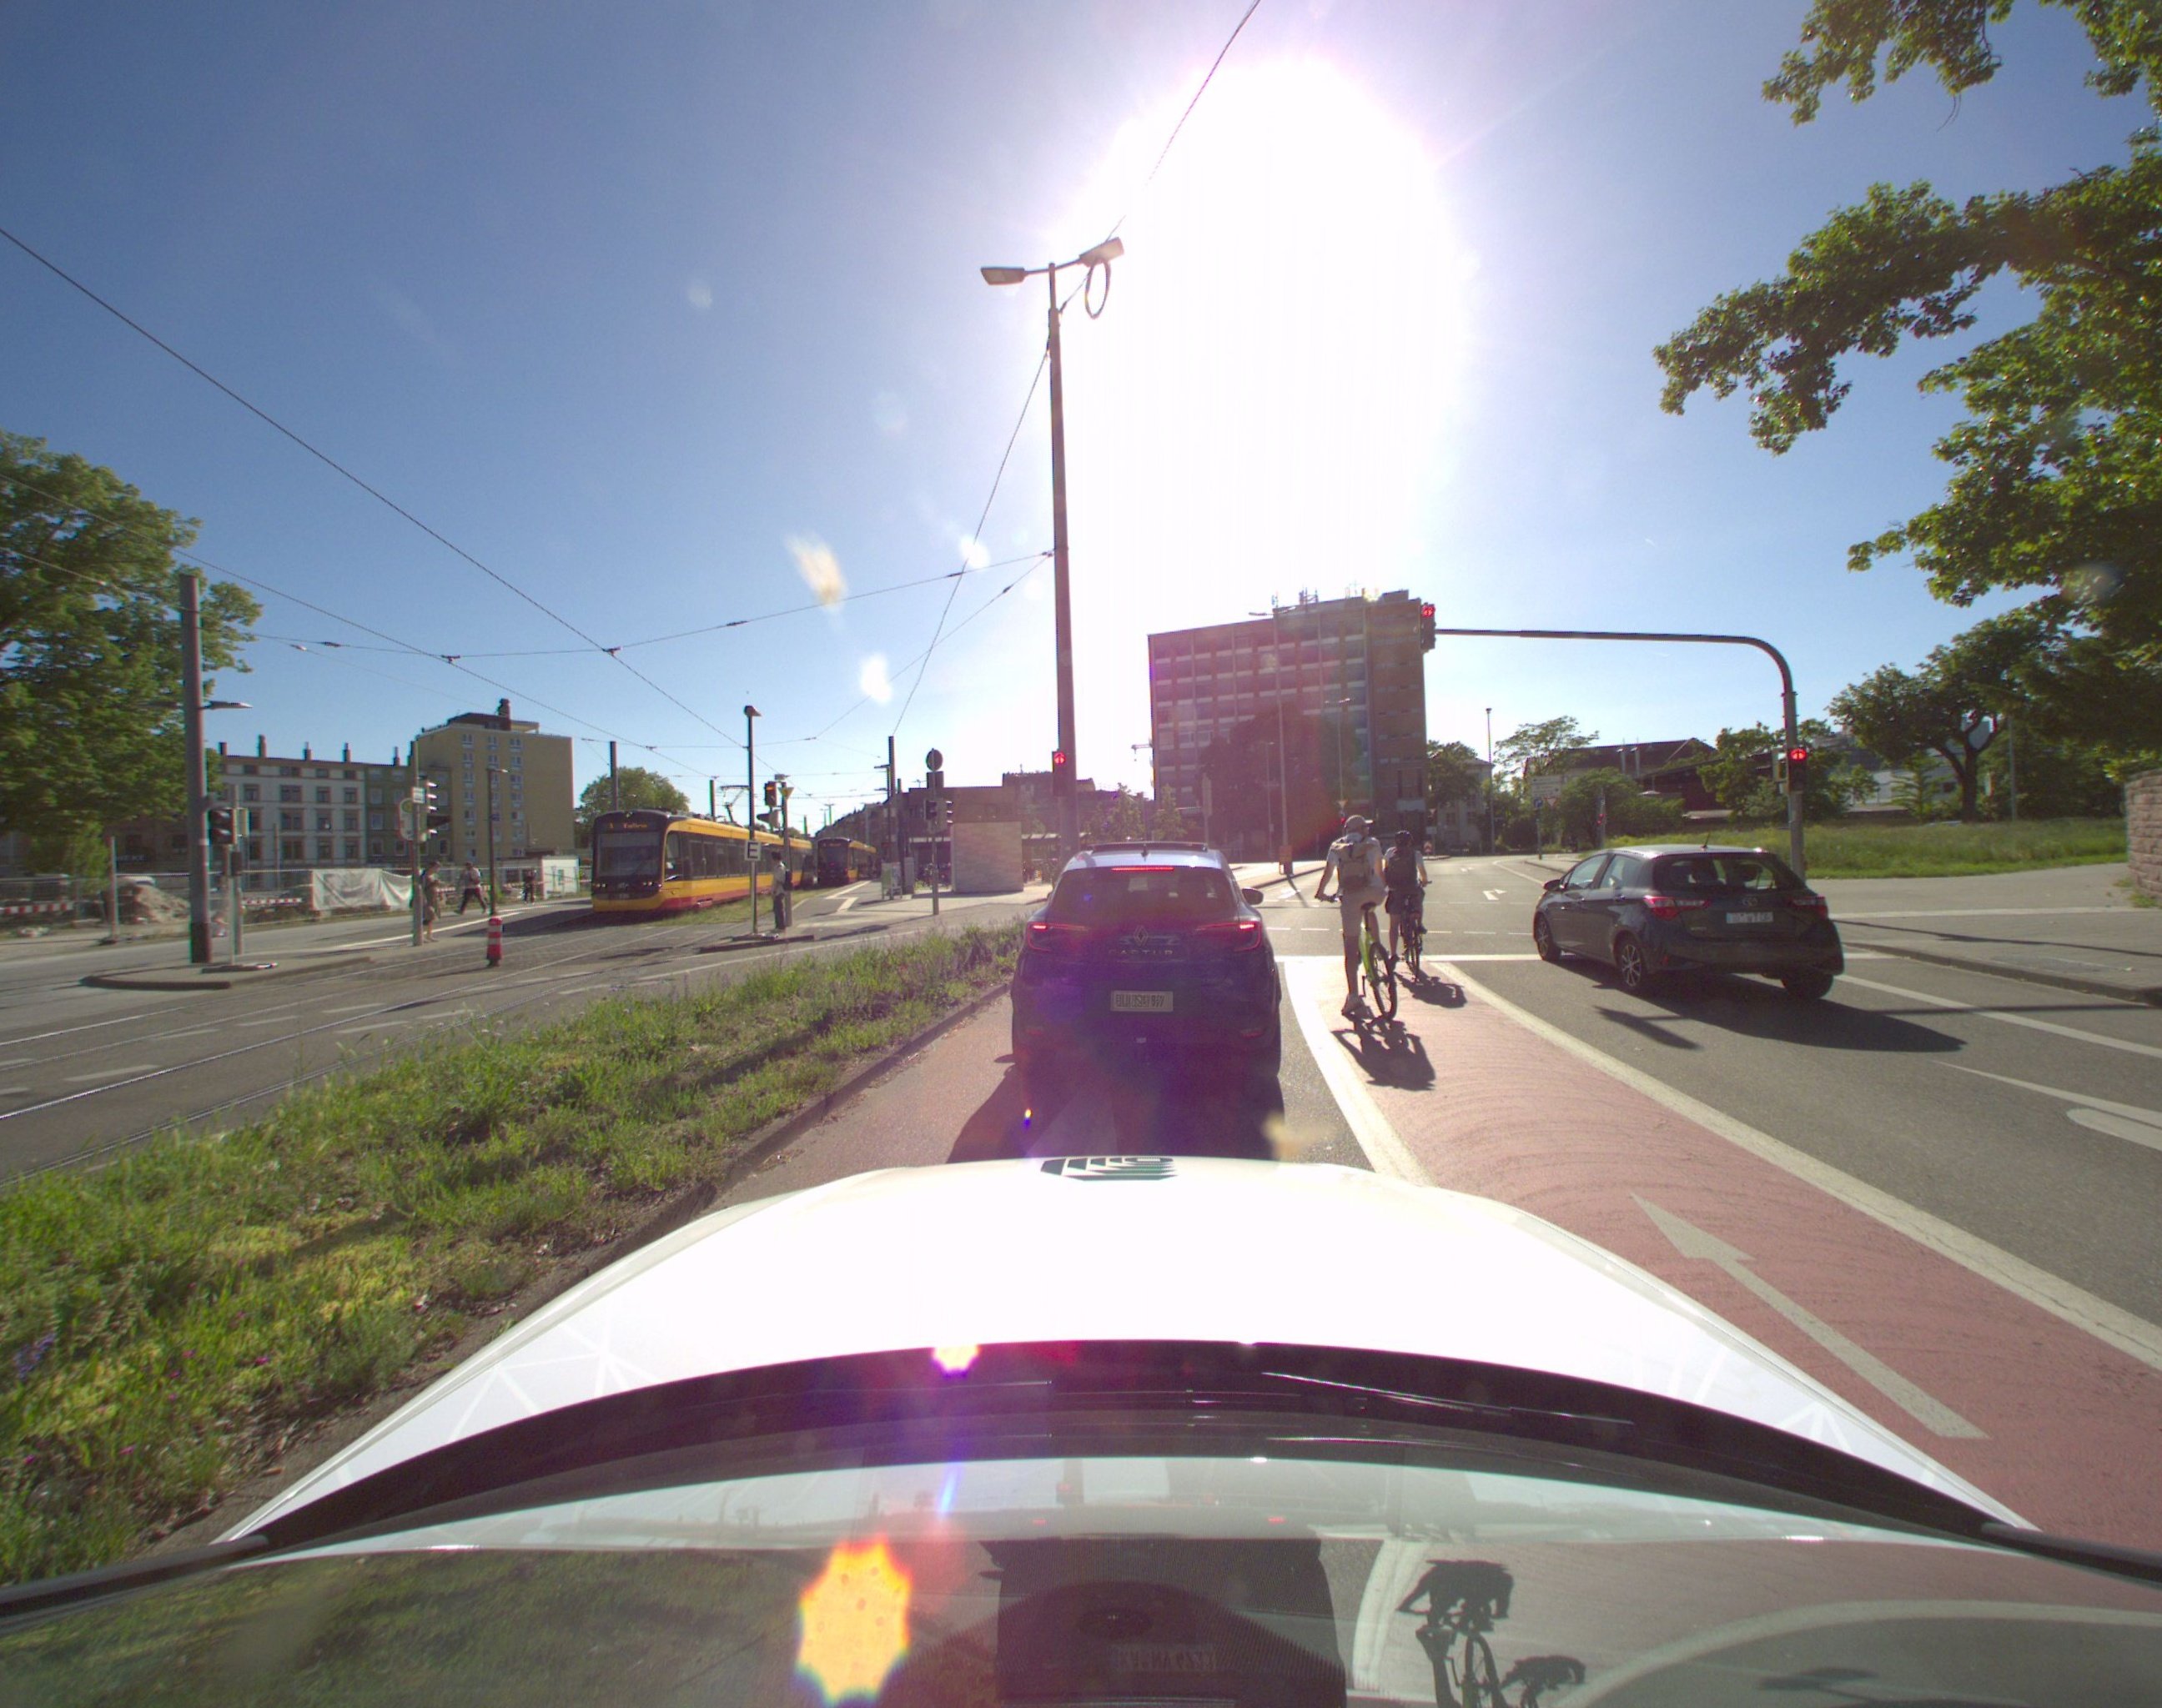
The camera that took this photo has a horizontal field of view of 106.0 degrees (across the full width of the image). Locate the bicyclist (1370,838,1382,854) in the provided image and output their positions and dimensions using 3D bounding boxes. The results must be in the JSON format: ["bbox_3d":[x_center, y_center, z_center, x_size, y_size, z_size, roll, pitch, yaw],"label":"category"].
[{"bbox_3d":[33.700,-0.913,93.096,1.146,1.797,0.889,-2,-2,27],"label":"bicyclist"}]

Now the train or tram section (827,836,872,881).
[{"bbox_3d":[-19.720,0.427,69.960,2.873,3.508,10.499,-1,0,-12],"label":"train or tram section"}]

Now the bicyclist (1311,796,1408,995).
[{"bbox_3d":[2.609,0.372,7.720,0.660,1.747,1.008,-2,0,9],"label":"bicyclist"}]

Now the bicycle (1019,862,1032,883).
[{"bbox_3d":[-2.944,0.958,42.879,0.580,1.058,1.812,-1,-1,-7],"label":"bicycle"}]

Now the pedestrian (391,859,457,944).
[{"bbox_3d":[-15.095,1.076,18.739,0.902,1.850,0.759,-2,2,-20],"label":"pedestrian"}]

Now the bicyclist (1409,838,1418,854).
[{"bbox_3d":[37.079,-0.890,90.807,0.850,1.692,0.889,-2,-2,27],"label":"bicyclist"}]

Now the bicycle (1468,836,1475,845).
[{"bbox_3d":[53.429,-1.837,111.521,0.603,1.093,1.682,-3,0,32],"label":"bicycle"}]

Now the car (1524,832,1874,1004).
[{"bbox_3d":[6.603,0.586,9.263,1.744,1.541,3.670,-1,0,12],"label":"car"}]

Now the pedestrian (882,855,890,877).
[{"bbox_3d":[-16.050,0.997,67.072,0.634,1.857,0.699,0,-2,-17],"label":"pedestrian"}]

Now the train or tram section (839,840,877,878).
[{"bbox_3d":[-21.831,0.481,80.242,2.873,3.508,10.499,-1,0,-12],"label":"train or tram section"}]

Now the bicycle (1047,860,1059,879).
[{"bbox_3d":[-1.692,0.952,48.960,0.580,1.088,2.053,-1,-1,-7],"label":"bicycle"}]

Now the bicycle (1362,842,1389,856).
[{"bbox_3d":[33.704,-0.522,93.094,2.775,1.541,0.889,-2,-2,27],"label":"bicycle"}]

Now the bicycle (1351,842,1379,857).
[{"bbox_3d":[31.843,-0.526,91.378,2.775,1.541,0.889,-2,-2,27],"label":"bicycle"}]

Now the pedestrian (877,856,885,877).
[{"bbox_3d":[-17.773,1.088,72.309,0.631,1.857,0.701,-1,-2,-7],"label":"pedestrian"}]

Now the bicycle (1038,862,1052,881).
[{"bbox_3d":[-1.915,0.947,43.230,0.580,0.961,2.053,-1,-1,-7],"label":"bicycle"}]

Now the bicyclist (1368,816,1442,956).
[{"bbox_3d":[3.965,0.367,10.034,0.716,1.626,1.059,-1,0,16],"label":"bicyclist"}]

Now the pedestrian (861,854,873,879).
[{"bbox_3d":[-15.990,0.946,60.920,0.848,1.883,0.757,-1,-2,-14],"label":"pedestrian"}]

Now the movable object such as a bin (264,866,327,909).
[{"bbox_3d":[-53.437,2.260,55.387,3.950,2.796,1.844,-2,-2,26],"label":"movable object such as a bin"}]

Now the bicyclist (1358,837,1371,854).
[{"bbox_3d":[31.840,-0.922,91.372,1.195,1.897,0.889,-2,-2,27],"label":"bicyclist"}]

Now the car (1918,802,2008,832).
[{"bbox_3d":[68.030,-2.804,62.933,4.305,2.014,2.013,-2,-2,34],"label":"car"}]

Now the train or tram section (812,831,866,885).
[{"bbox_3d":[-17.574,0.311,59.730,2.873,3.508,10.499,-1,0,-12],"label":"train or tram section"}]

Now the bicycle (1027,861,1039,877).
[{"bbox_3d":[-3.329,1.018,56.407,0.580,1.088,1.865,-1,-1,-9],"label":"bicycle"}]

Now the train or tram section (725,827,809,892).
[{"bbox_3d":[-18.880,0.323,49.765,2.818,3.508,11.167,-1,0,-11],"label":"train or tram section"}]

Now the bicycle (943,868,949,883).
[{"bbox_3d":[-8.786,1.370,53.017,0.421,0.938,1.374,0,-1,-9],"label":"bicycle"}]

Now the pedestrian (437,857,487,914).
[{"bbox_3d":[-20.017,1.022,26.345,0.854,1.767,0.980,-2,0,30],"label":"pedestrian"}]

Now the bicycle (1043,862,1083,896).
[{"bbox_3d":[-0.601,0.860,28.124,0.767,1.080,2.044,-3,-1,16],"label":"bicycle"}]

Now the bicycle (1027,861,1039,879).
[{"bbox_3d":[-2.900,0.972,48.917,0.580,1.088,2.053,-1,-1,-7],"label":"bicycle"}]

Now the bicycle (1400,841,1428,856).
[{"bbox_3d":[37.083,-0.629,90.811,2.775,1.541,0.889,-2,-2,27],"label":"bicycle"}]

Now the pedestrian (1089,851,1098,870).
[{"bbox_3d":[1.212,0.630,78.800,0.721,1.857,0.705,-1,-2,10],"label":"pedestrian"}]

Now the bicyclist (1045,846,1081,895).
[{"bbox_3d":[-0.621,0.566,28.161,0.873,1.644,1.065,-3,-1,16],"label":"bicyclist"}]

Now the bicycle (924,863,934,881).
[{"bbox_3d":[-9.829,1.157,52.611,0.565,1.093,2.023,-1,-1,-9],"label":"bicycle"}]

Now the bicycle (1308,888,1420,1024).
[{"bbox_3d":[2.640,0.904,7.801,0.659,1.047,1.895,-2,0,9],"label":"bicycle"}]

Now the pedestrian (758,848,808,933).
[{"bbox_3d":[-6.668,0.791,18.213,1.020,1.832,0.755,0,-2,-22],"label":"pedestrian"}]

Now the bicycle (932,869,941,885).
[{"bbox_3d":[-8.512,1.334,47.985,0.422,0.938,1.300,0,-1,-13],"label":"bicycle"}]

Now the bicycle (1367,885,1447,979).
[{"bbox_3d":[3.982,0.902,10.065,0.717,0.960,1.892,-1,0,16],"label":"bicycle"}]

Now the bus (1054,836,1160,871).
[{"bbox_3d":[2.608,0.015,86.873,12.287,3.396,2.900,-2,-2,42],"label":"bus"}]

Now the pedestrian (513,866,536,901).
[{"bbox_3d":[-29.089,1.543,42.585,0.668,1.767,0.796,-2,0,-13],"label":"pedestrian"}]

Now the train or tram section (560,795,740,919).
[{"bbox_3d":[-14.673,0.108,28.879,2.820,3.508,10.434,-2,0,-12],"label":"train or tram section"}]

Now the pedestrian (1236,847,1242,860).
[{"bbox_3d":[20.273,-0.012,104.229,0.555,1.670,0.479,-2,-2,39],"label":"pedestrian"}]

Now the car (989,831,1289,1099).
[{"bbox_3d":[0.579,0.668,6.795,1.813,1.600,3.666,-1,0,8],"label":"car"}]

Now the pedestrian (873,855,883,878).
[{"bbox_3d":[-16.963,1.032,67.957,0.673,1.857,0.701,-1,-2,-7],"label":"pedestrian"}]

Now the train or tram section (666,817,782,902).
[{"bbox_3d":[-16.775,0.244,39.128,2.818,3.508,10.570,-1,0,-11],"label":"train or tram section"}]

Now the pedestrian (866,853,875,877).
[{"bbox_3d":[-17.085,0.908,66.125,0.740,1.918,0.739,-1,-2,-14],"label":"pedestrian"}]

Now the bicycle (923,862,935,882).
[{"bbox_3d":[-8.643,1.002,46.270,0.565,1.093,2.023,-1,-1,-9],"label":"bicycle"}]

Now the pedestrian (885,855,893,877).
[{"bbox_3d":[-16.934,1.063,71.803,0.632,1.857,0.700,-1,-2,-9],"label":"pedestrian"}]

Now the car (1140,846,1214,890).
[{"bbox_3d":[3.653,0.486,30.308,1.785,1.393,4.114,-2,1,20],"label":"car"}]

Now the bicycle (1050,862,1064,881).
[{"bbox_3d":[-1.301,0.938,43.302,0.580,0.961,2.053,-1,-1,-7],"label":"bicycle"}]
